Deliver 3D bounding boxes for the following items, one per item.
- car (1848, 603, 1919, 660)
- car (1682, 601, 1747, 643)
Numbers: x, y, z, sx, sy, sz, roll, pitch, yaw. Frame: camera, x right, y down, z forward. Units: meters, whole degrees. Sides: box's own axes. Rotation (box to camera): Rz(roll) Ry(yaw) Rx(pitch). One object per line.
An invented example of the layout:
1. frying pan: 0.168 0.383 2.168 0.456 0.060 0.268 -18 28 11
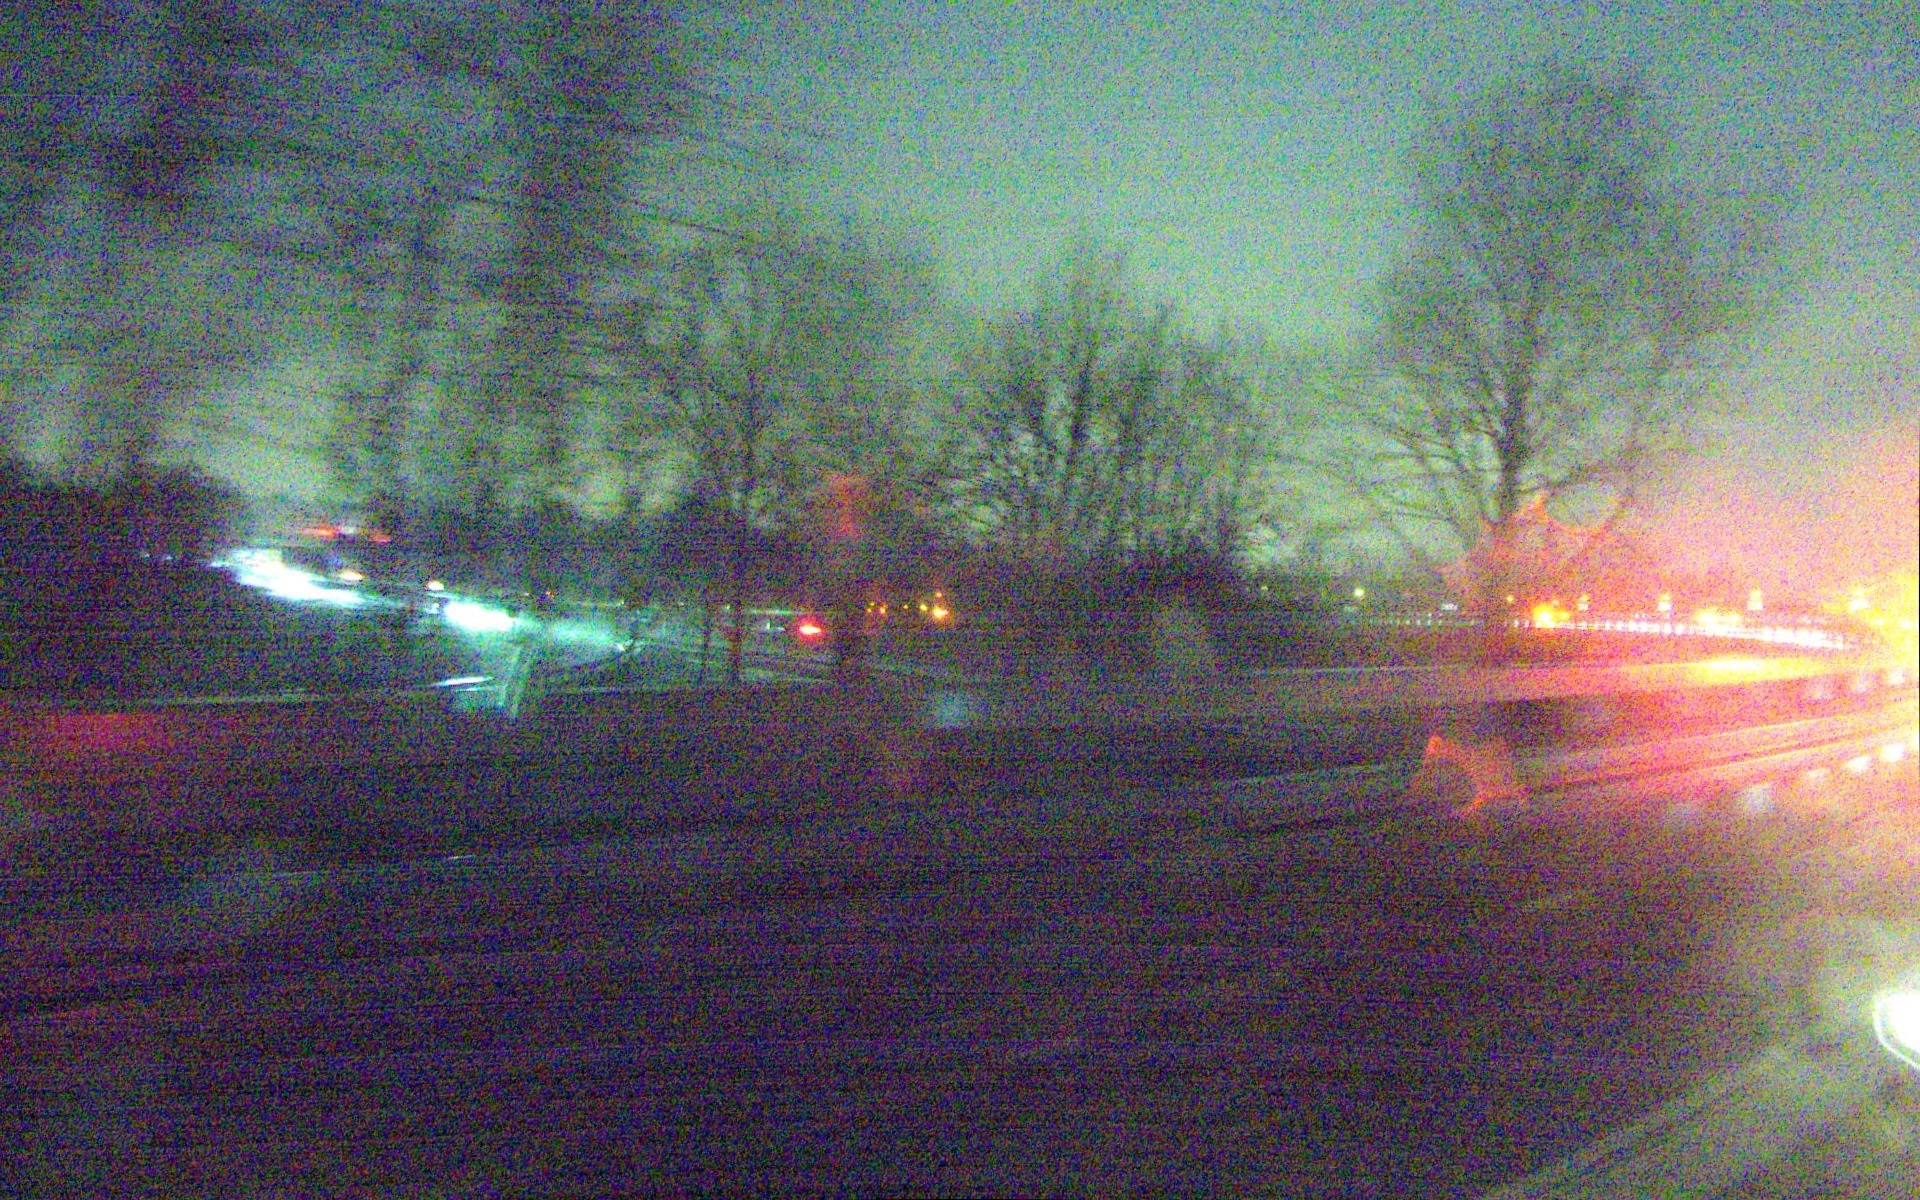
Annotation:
1. car: 35.403 1.154 38.041 1.867 2.067 4.037 0 0 30
2. car: 38.662 1.126 51.587 1.866 2.024 4.042 -1 -1 26
